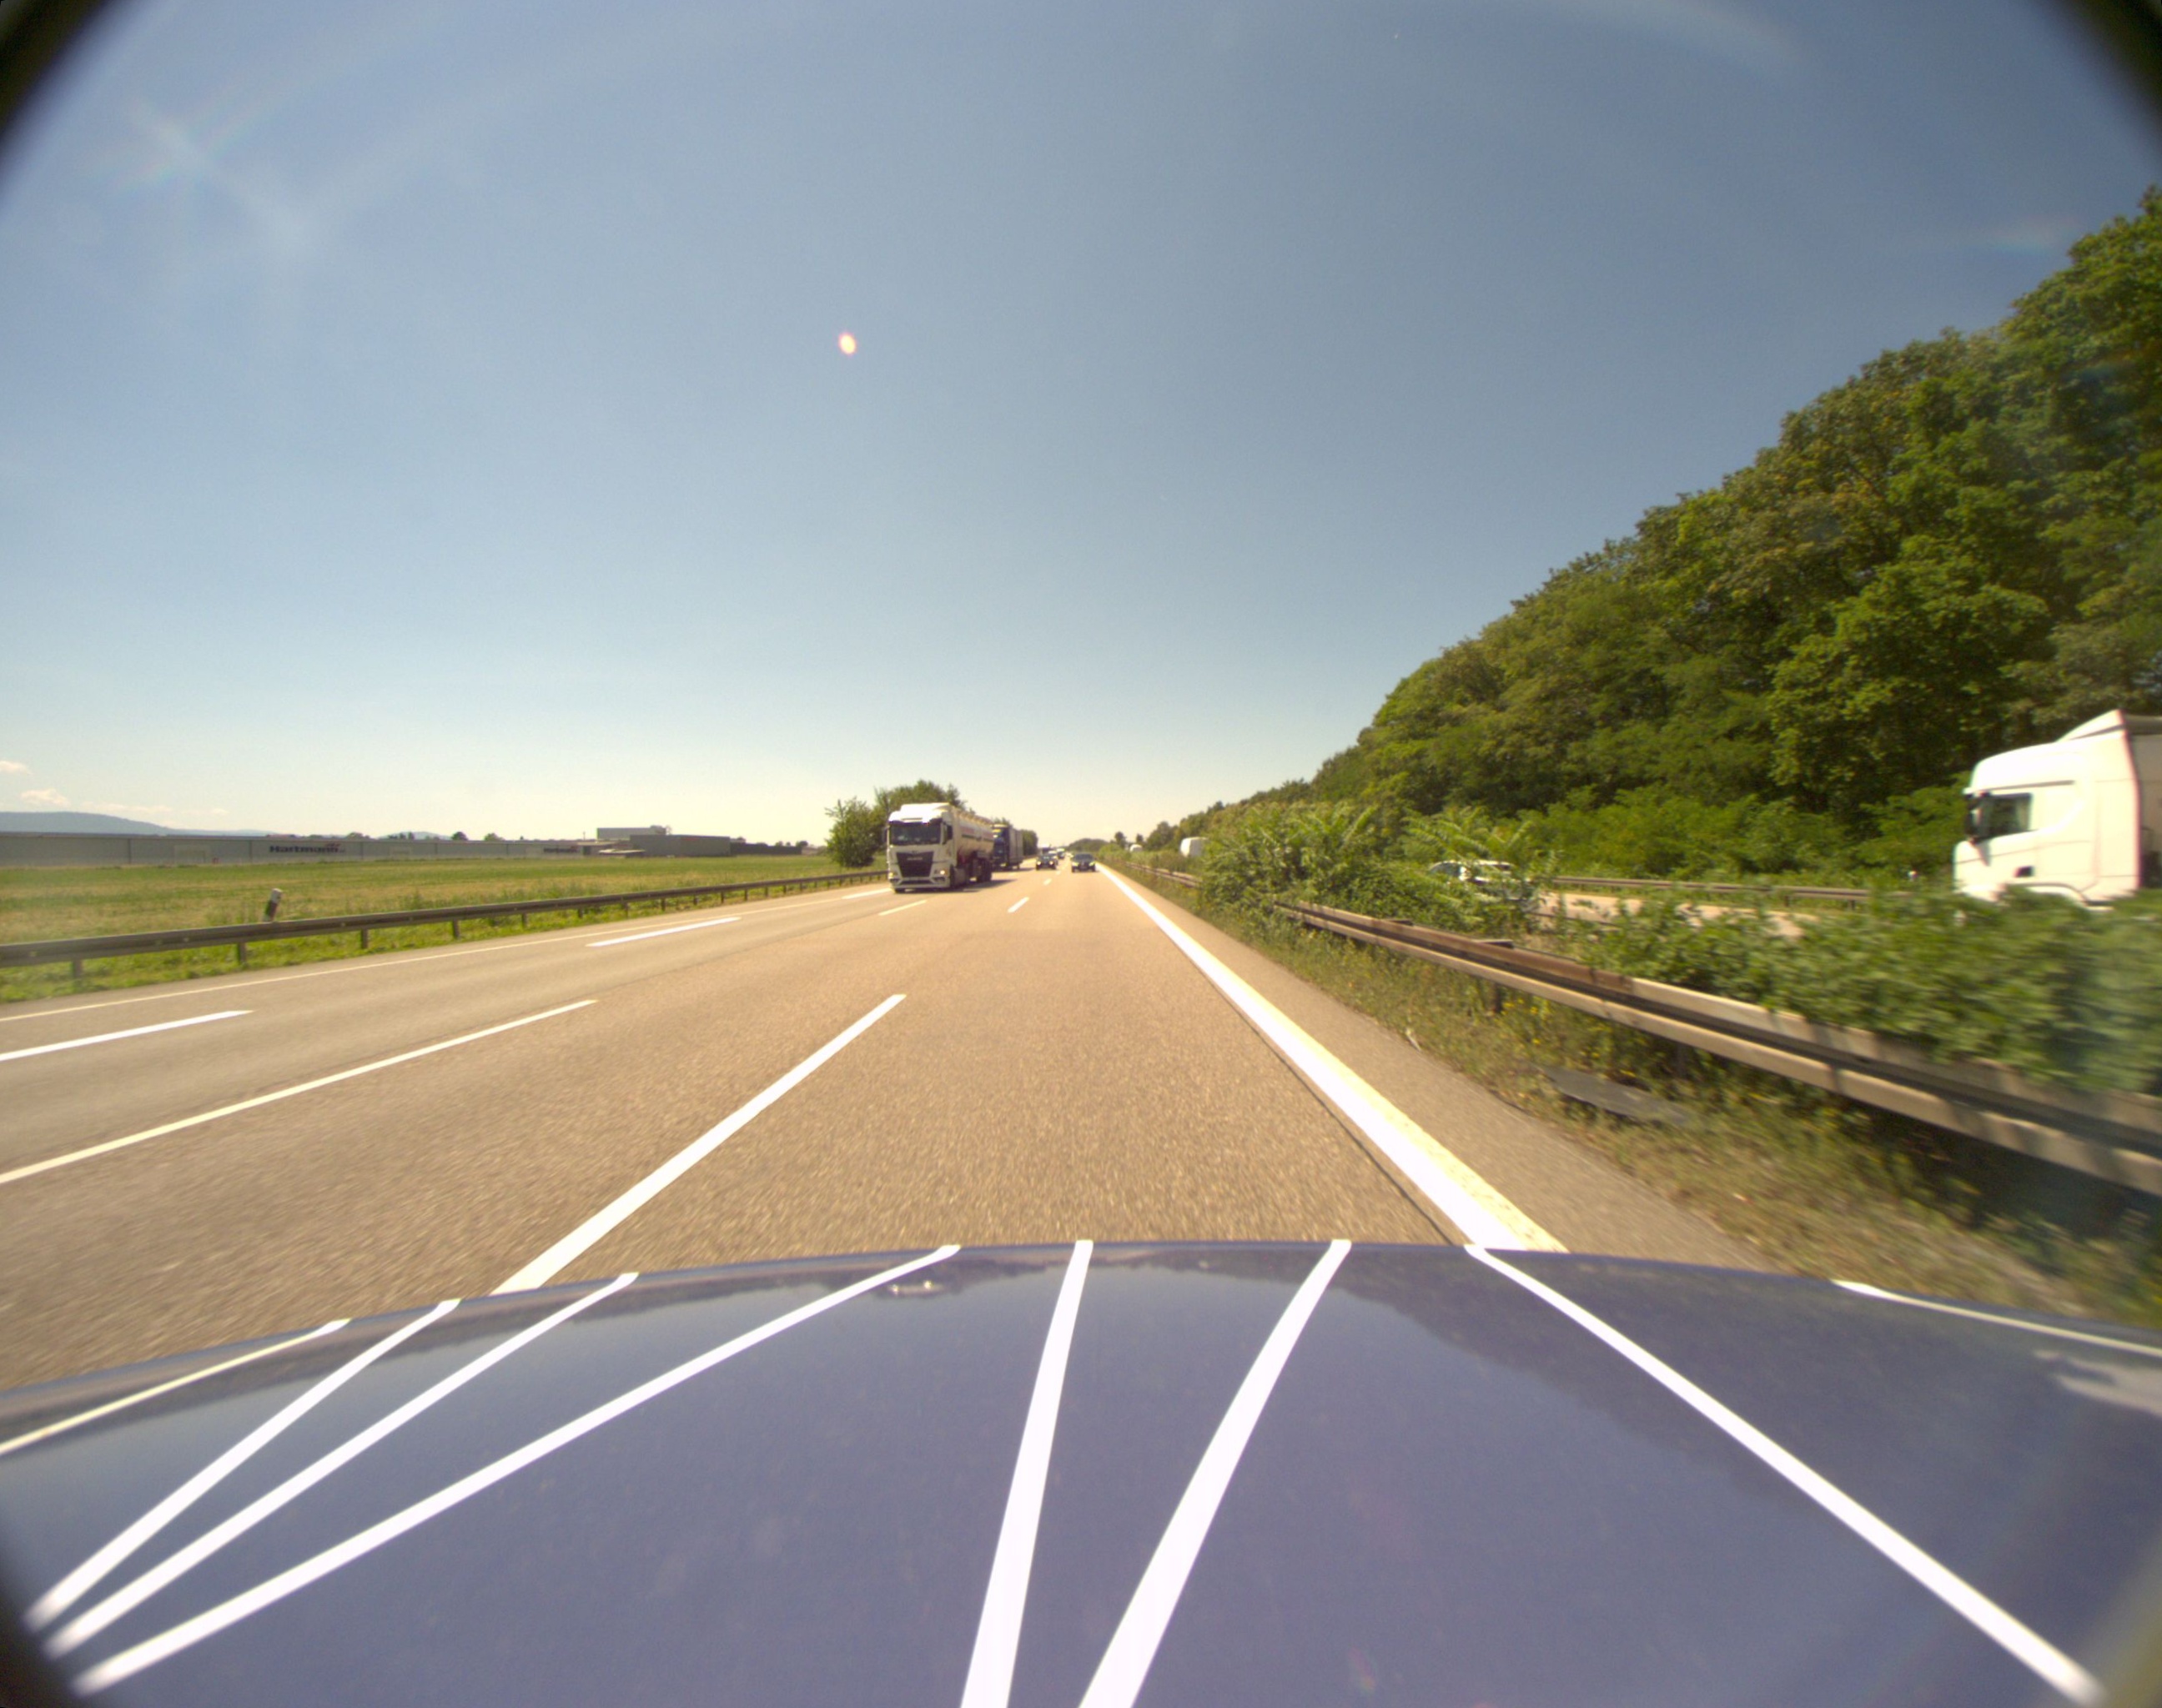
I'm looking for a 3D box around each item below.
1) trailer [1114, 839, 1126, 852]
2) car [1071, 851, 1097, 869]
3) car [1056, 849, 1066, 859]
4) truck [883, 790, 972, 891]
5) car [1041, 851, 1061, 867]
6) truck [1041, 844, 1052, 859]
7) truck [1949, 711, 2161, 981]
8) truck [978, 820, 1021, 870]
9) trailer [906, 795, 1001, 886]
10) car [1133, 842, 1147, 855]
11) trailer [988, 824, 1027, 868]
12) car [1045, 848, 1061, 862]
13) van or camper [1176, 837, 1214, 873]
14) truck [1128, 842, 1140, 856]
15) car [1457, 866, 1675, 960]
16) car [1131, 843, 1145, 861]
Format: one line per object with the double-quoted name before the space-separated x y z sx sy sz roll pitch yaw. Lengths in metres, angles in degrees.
"trailer" 12.400 -2.536 240.419 2.877 3.986 13.515 -1 0 -1
"car" 0.213 0.433 58.984 1.887 1.341 4.466 -1 0 -2
"car" -4.106 -0.050 156.880 1.999 2.002 3.999 -1 0 -1
"truck" -6.751 -0.565 34.106 2.797 4.180 5.000 -1 0 1
"car" -2.752 0.408 70.264 1.841 1.409 4.496 -1 0 -2
"truck" -9.686 -0.757 211.834 2.798 4.180 10.804 -1 0 -2
"truck" 17.461 -0.109 11.902 2.841 4.011 4.184 1 1 1
"truck" -7.401 -0.789 70.370 2.797 4.180 10.805 -1 0 0
"trailer" -6.585 -0.634 41.443 2.797 4.180 12.353 -1 0 1
"car" 9.583 -0.841 122.908 1.998 2.002 4.000 -1 0 1
"trailer" -7.400 -0.758 78.077 2.797 4.180 10.806 -1 0 0
"car" -3.469 0.144 95.717 1.887 1.634 3.999 -1 0 -1
"van or camper" 9.439 0.044 63.256 1.999 2.829 6.999 -1 0 -1
"truck" 16.081 -1.597 231.183 3.021 4.090 9.998 -1 0 -1
"car" 9.302 1.046 15.017 1.774 1.502 4.000 -1 0 1
"car" 9.511 -0.374 126.280 1.998 2.809 4.596 -1 1 0
